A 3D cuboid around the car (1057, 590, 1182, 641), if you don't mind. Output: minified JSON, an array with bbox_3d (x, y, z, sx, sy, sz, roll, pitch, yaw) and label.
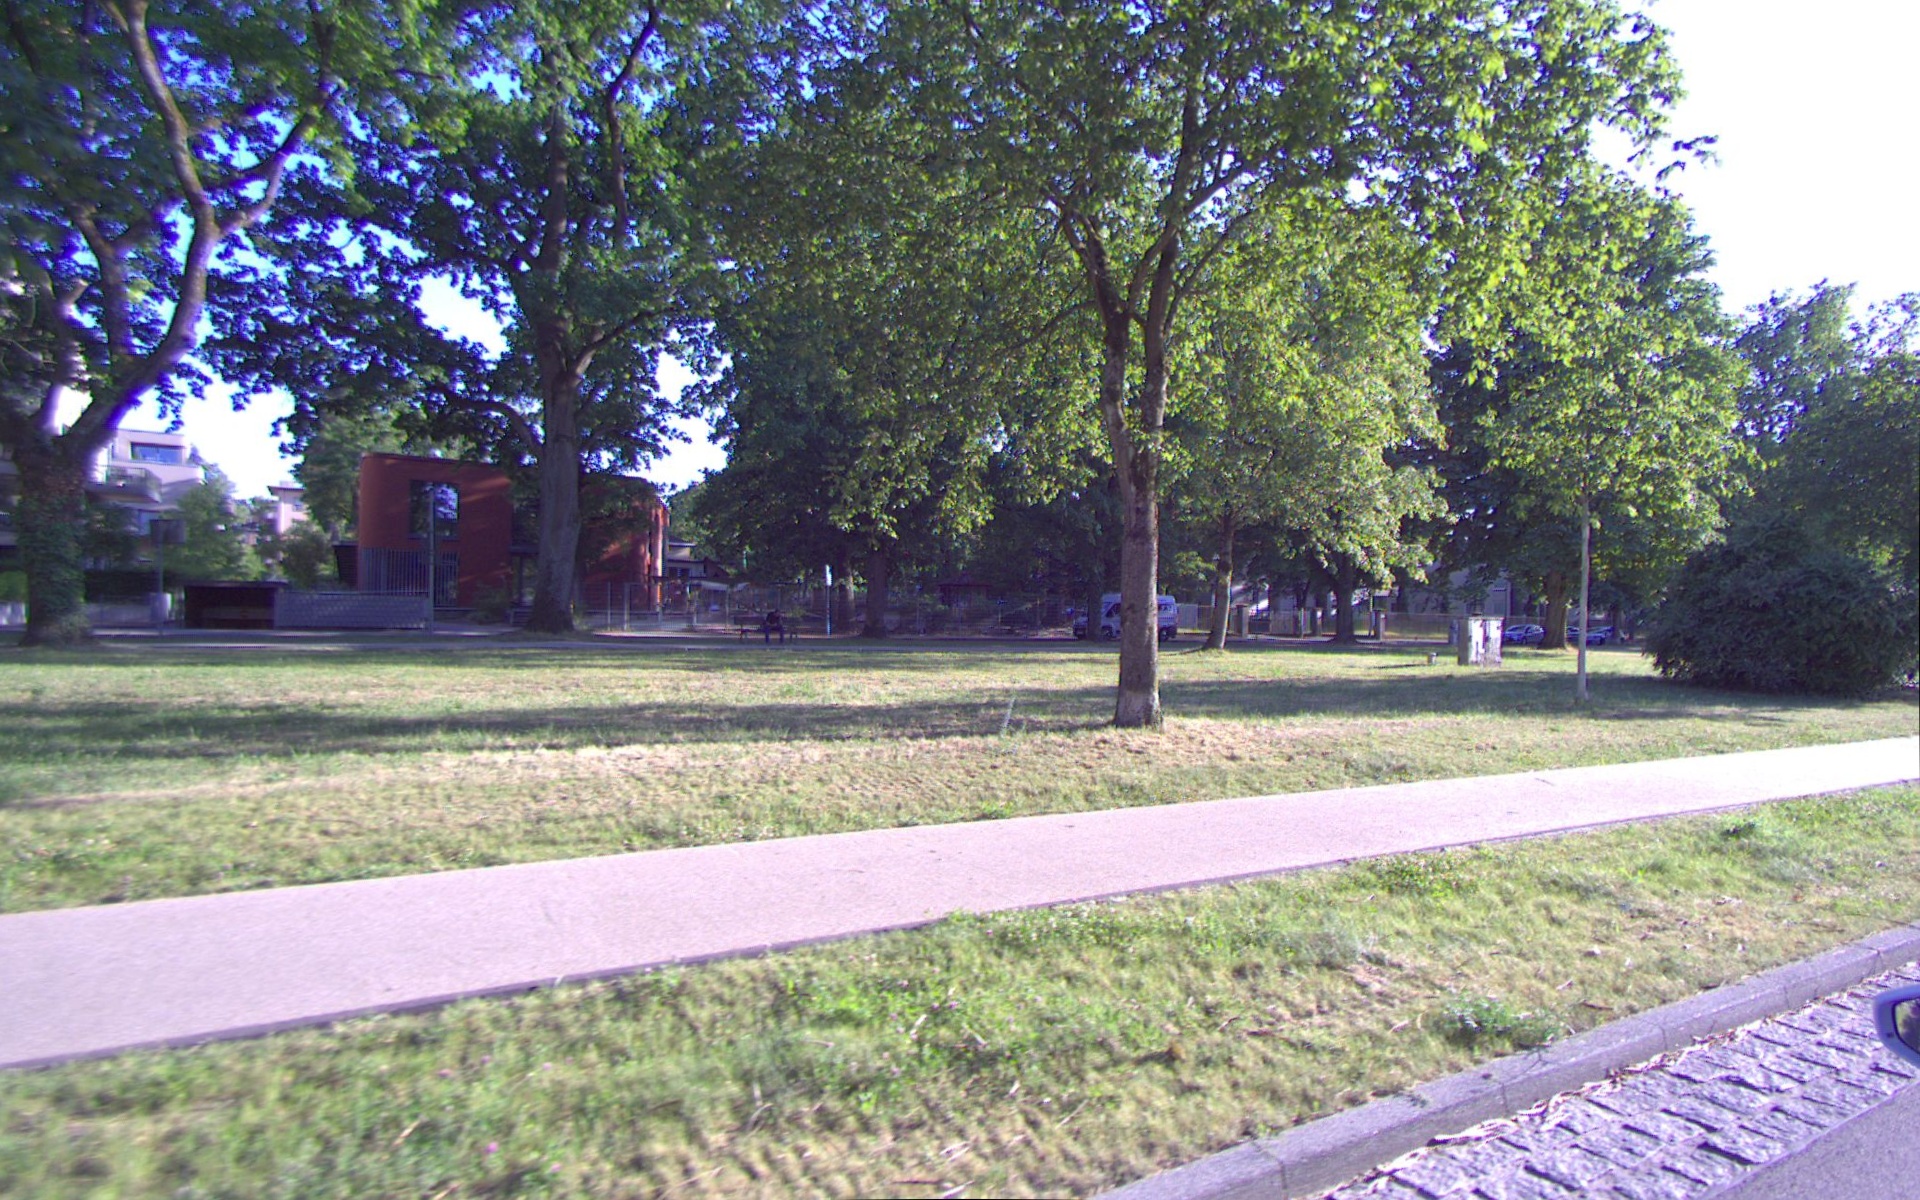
[{"bbox_3d":[8.474,0.855,53.157,6.247,2.496,2.706,2,-1,-32],"label":"car"}]

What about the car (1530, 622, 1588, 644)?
[{"bbox_3d":[44.048,2.406,73.865,3.952,1.528,1.985,2,-1,-29],"label":"car"}]

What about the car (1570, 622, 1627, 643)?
[{"bbox_3d":[48.561,2.486,76.414,4.066,1.528,1.985,2,-1,-29],"label":"car"}]

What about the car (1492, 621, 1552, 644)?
[{"bbox_3d":[40.095,2.331,71.640,3.952,1.528,1.985,2,-1,-29],"label":"car"}]

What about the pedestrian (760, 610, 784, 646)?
[{"bbox_3d":[-5.348,0.788,28.559,0.601,1.000,0.547,2,-1,-19],"label":"pedestrian"}]

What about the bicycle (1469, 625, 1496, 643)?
[{"bbox_3d":[37.642,2.443,72.326,2.309,1.191,0.653,2,-1,-33],"label":"bicycle"}]
